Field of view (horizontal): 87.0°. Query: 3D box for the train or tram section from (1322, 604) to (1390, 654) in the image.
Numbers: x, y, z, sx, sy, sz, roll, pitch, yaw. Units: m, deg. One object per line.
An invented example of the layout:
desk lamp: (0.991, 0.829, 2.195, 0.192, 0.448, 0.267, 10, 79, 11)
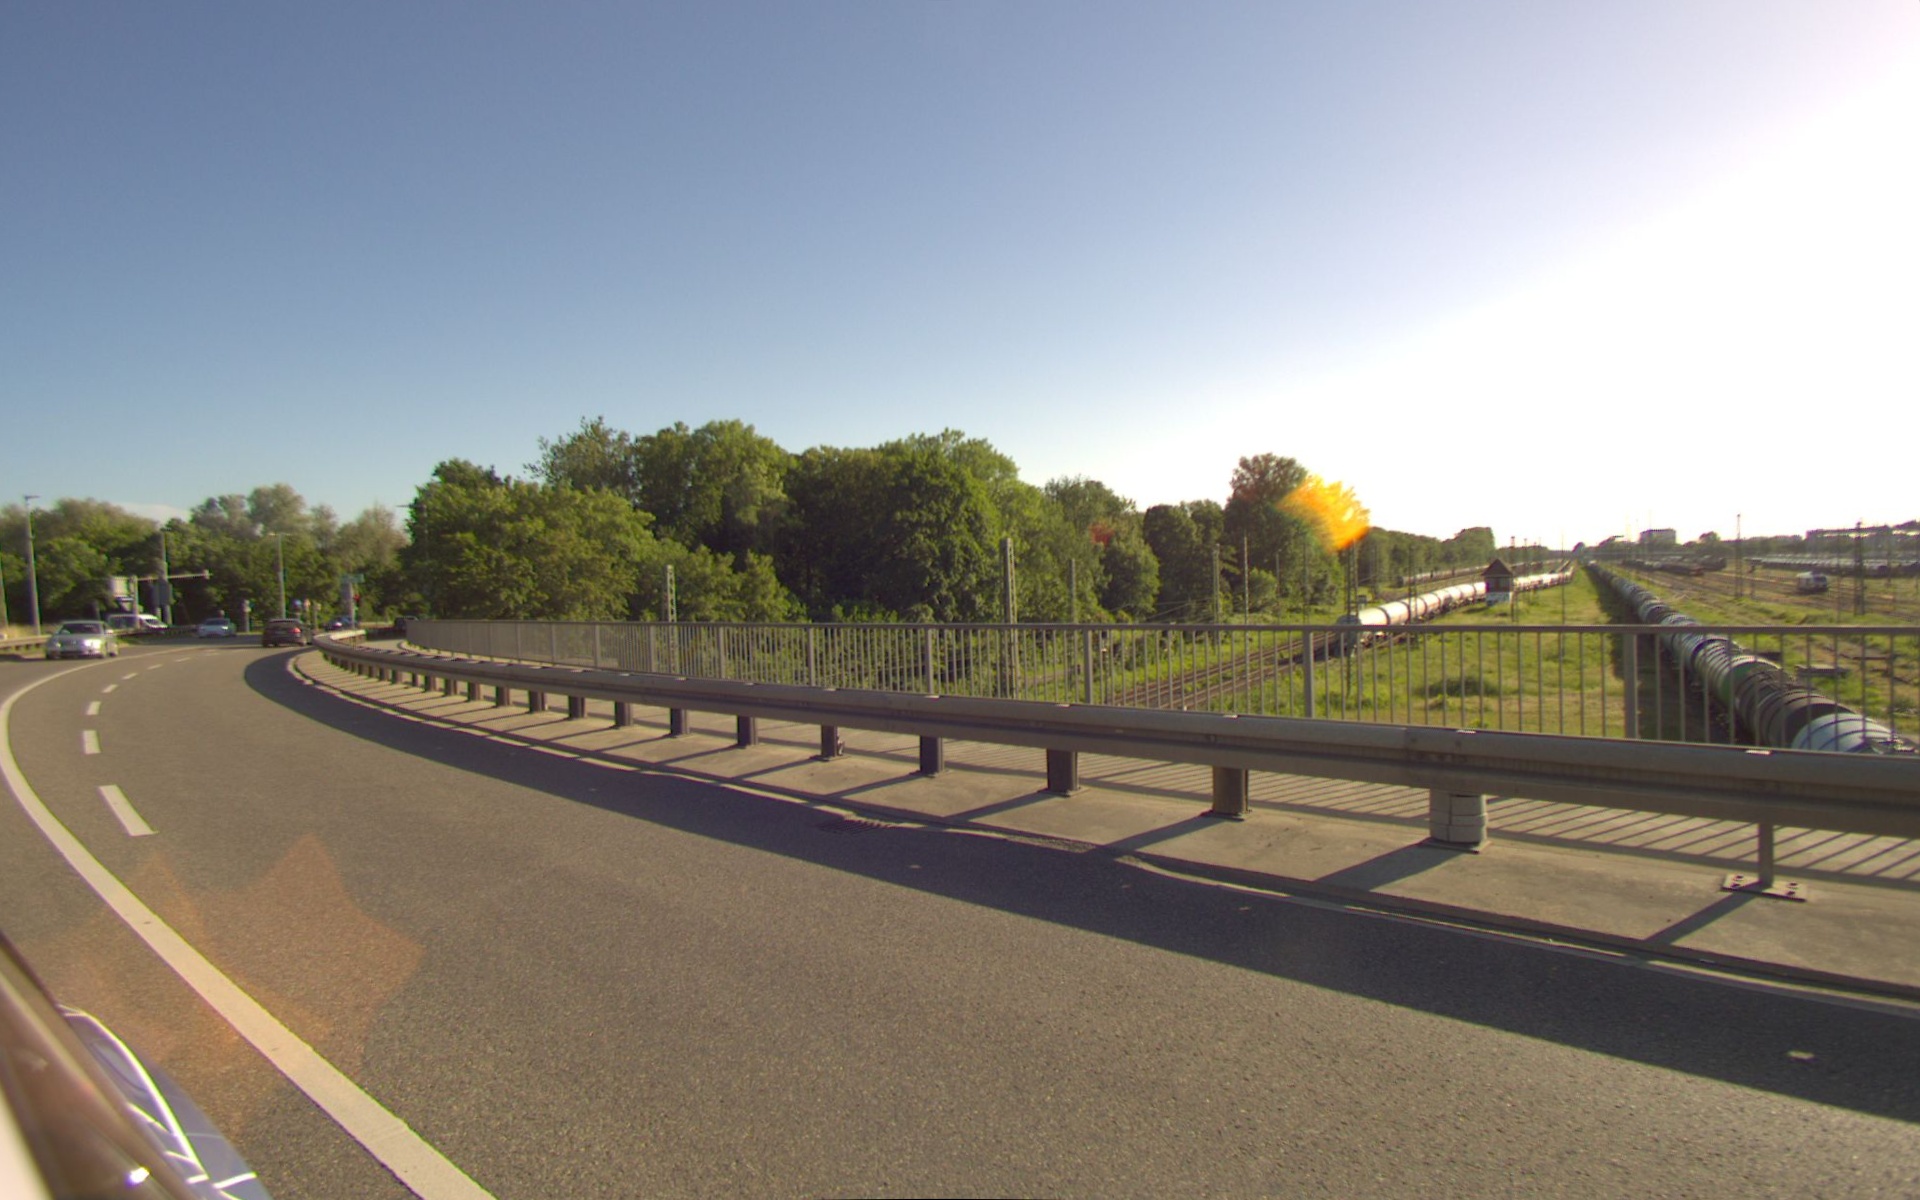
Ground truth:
train or tram section: (44.476, 3.047, 112.985, 4.034, 5.125, 19.151, -2, -1, 31)

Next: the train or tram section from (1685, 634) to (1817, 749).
train or tram section: (43.950, 4.699, 56.913, 3.892, 5.054, 16.488, -2, -1, 32)

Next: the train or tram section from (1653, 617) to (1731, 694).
train or tram section: (61.000, 4.352, 84.738, 3.892, 5.561, 16.327, -2, -1, 32)

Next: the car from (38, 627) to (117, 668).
car: (-33.877, 1.778, 38.954, 1.736, 1.447, 4.341, -1, -1, -34)

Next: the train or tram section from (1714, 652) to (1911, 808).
train or tram section: (35.443, 4.924, 42.991, 3.892, 4.626, 16.137, -2, -1, 32)

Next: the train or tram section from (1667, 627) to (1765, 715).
train or tram section: (52.498, 4.622, 70.833, 3.892, 5.054, 16.191, -2, -1, 32)

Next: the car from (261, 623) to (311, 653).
car: (-34.628, 1.932, 52.089, 1.847, 1.450, 4.334, -1, -1, -30)

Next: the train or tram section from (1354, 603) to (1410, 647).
train or tram section: (53.932, 3.021, 129.007, 4.034, 5.125, 17.998, -2, -1, 31)

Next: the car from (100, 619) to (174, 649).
car: (-80.041, 3.287, 98.479, 5.632, 2.518, 2.112, -3, -1, 4)

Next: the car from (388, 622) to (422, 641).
car: (-45.700, 2.596, 83.432, 1.756, 1.448, 3.887, -1, -1, -18)

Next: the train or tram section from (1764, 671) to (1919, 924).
train or tram section: (26.919, 4.905, 29.062, 3.892, 4.626, 16.589, -2, -1, 32)

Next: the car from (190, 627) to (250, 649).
car: (-54.832, 2.775, 75.078, 1.963, 1.484, 4.137, -1, -1, -9)

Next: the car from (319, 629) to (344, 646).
car: (-66.102, 3.905, 106.429, 1.890, 1.630, 3.755, -1, -1, -27)
